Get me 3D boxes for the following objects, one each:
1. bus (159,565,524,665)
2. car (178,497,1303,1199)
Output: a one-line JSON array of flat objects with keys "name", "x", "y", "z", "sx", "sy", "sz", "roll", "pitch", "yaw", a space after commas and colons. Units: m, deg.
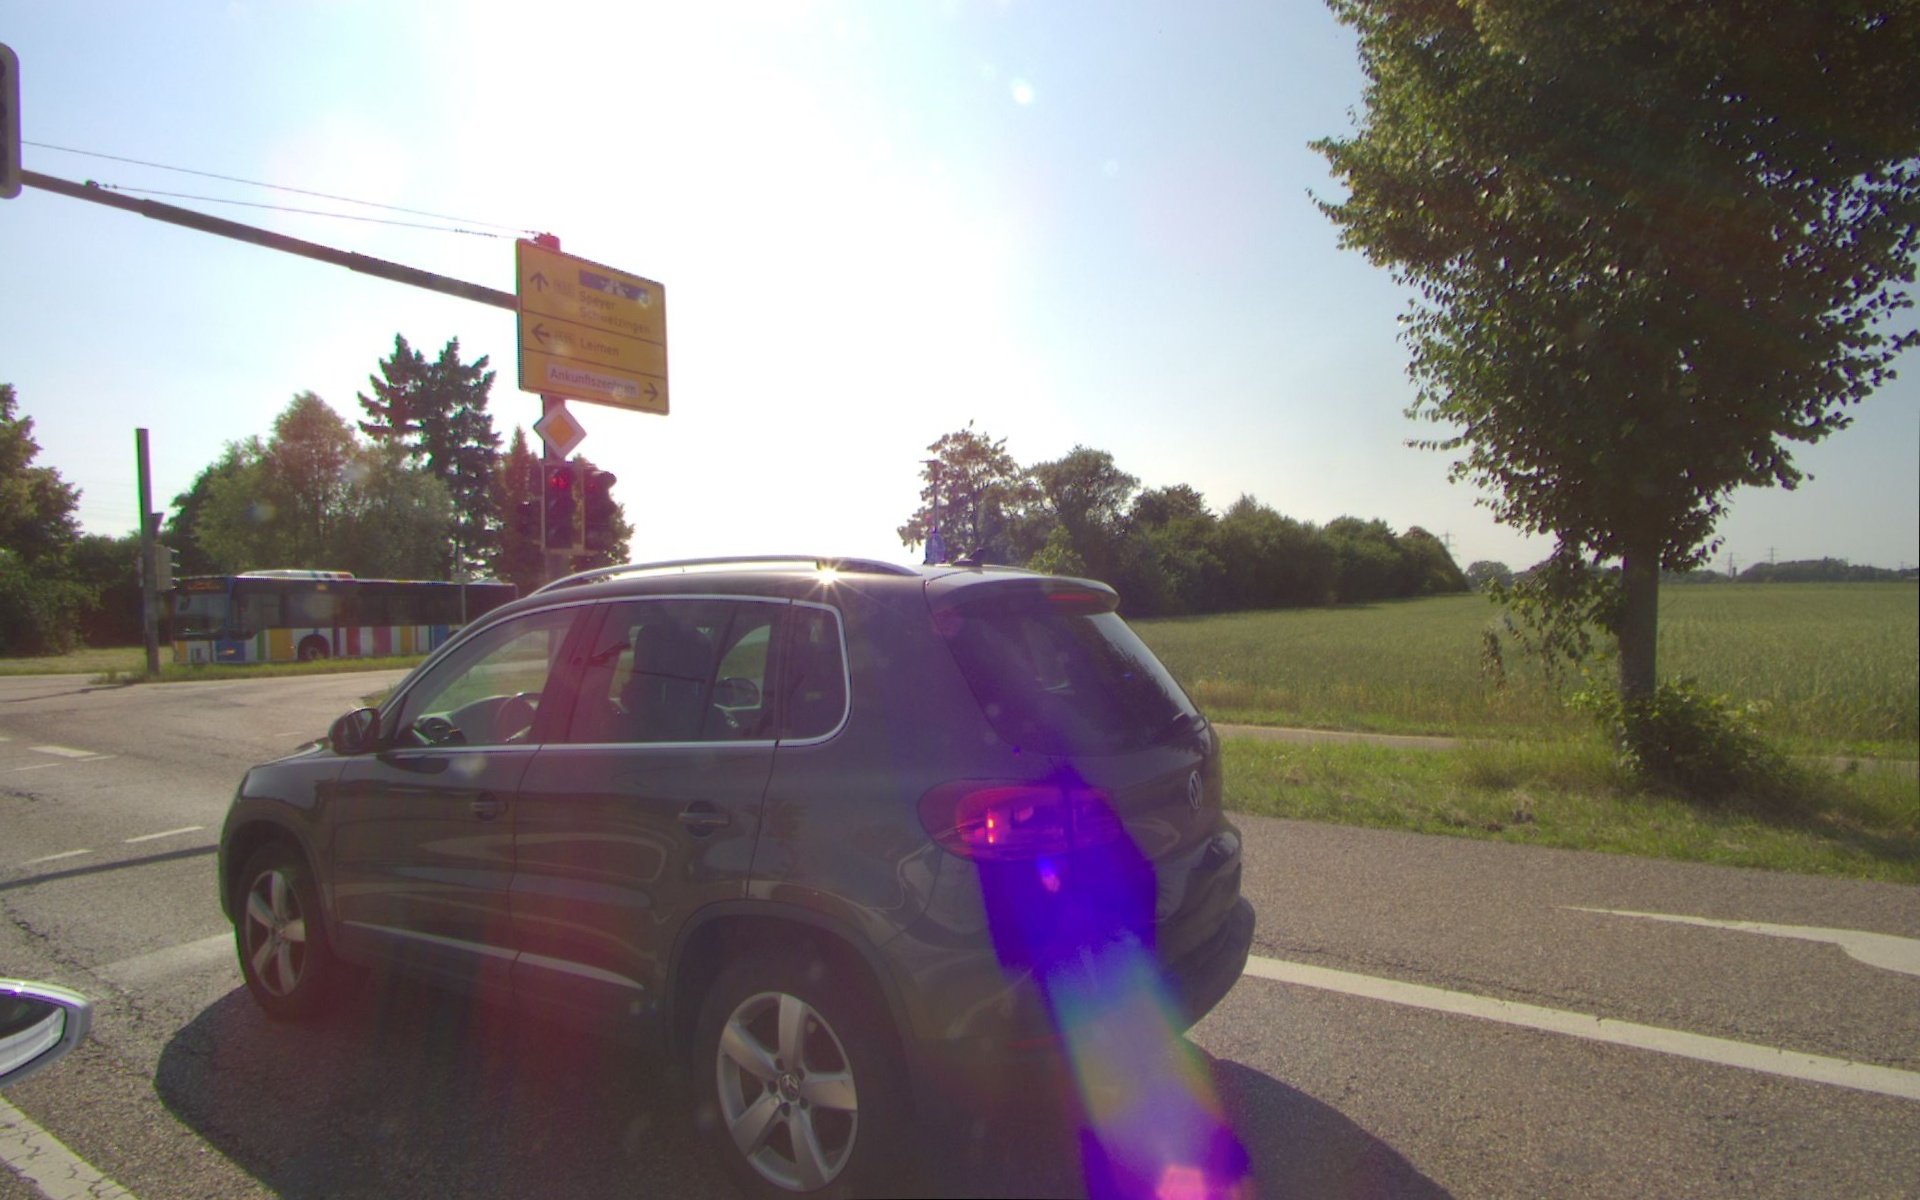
[{"name": "bus", "x": -20.845, "y": 0.385, "z": 35.312, "sx": 2.889, "sy": 2.916, "sz": 11.955, "roll": -1, "pitch": 0, "yaw": 17}, {"name": "car", "x": -1.006, "y": 0.691, "z": 3.771, "sx": 4.086, "sy": 1.677, "sz": 1.753, "roll": -1, "pitch": -2, "yaw": 32}]
